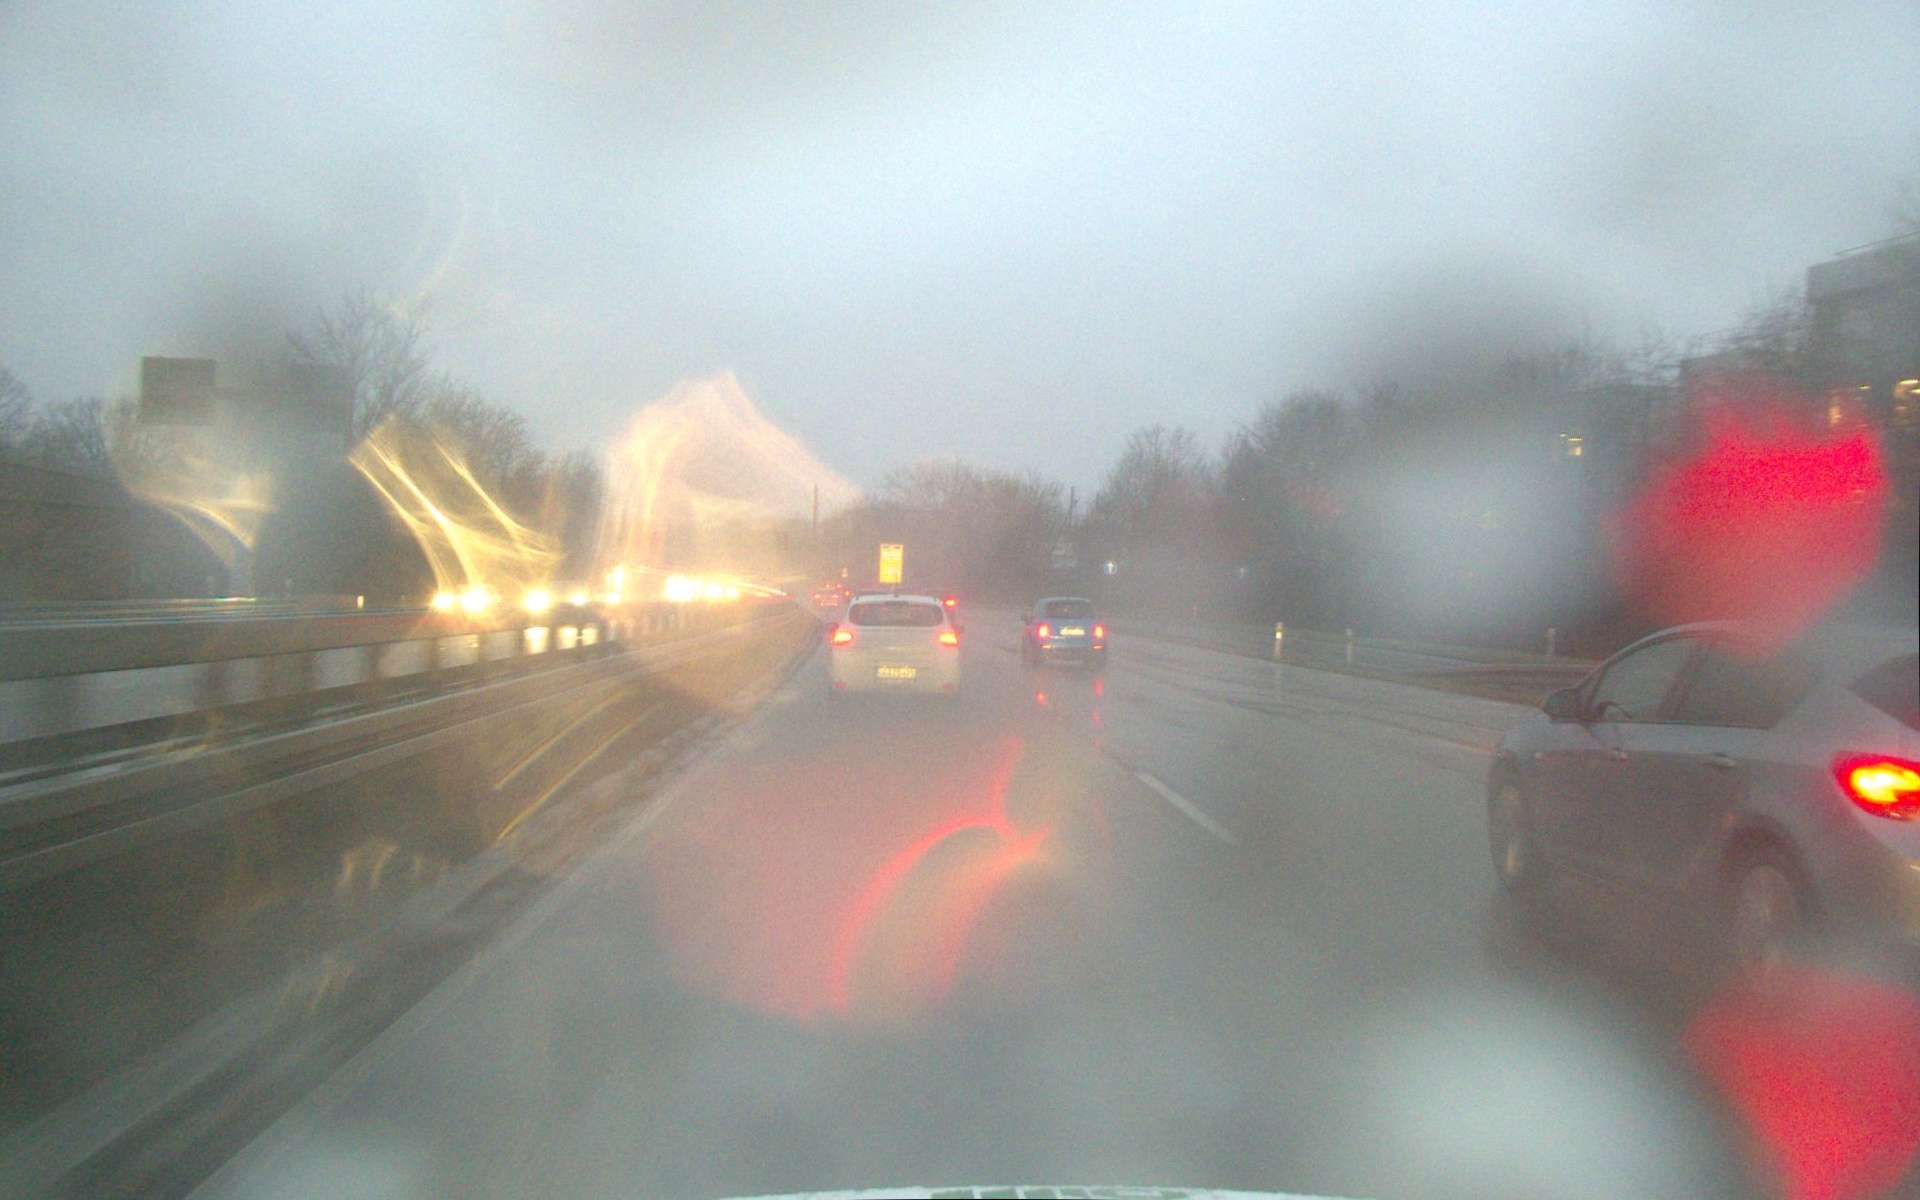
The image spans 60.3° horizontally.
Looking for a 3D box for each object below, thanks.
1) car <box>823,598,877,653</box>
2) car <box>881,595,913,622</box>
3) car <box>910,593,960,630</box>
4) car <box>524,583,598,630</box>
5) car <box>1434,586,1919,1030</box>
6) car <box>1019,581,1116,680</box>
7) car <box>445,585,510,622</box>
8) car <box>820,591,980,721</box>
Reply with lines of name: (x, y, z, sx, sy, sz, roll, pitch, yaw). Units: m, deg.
car: (-4.298, 0.952, 64.257, 1.954, 2.049, 3.996, 1, 0, -5)
car: (-3.935, 0.513, 102.280, 1.894, 1.573, 3.771, 1, 0, -3)
car: (-1.240, 0.582, 79.665, 1.896, 1.573, 3.767, -5, 0, -7)
car: (-14.402, 0.226, 59.919, 1.801, 1.583, 4.352, 1, 0, -3)
car: (3.851, 0.732, 7.882, 1.812, 1.528, 4.260, 1, 0, -2)
car: (2.322, 0.636, 36.591, 1.893, 2.055, 3.773, 1, 0, 0)
car: (-21.780, 0.153, 74.808, 1.800, 1.583, 4.353, 1, 0, -2)
car: (-0.823, 0.702, 22.779, 1.984, 1.602, 3.998, 1, 0, -2)
